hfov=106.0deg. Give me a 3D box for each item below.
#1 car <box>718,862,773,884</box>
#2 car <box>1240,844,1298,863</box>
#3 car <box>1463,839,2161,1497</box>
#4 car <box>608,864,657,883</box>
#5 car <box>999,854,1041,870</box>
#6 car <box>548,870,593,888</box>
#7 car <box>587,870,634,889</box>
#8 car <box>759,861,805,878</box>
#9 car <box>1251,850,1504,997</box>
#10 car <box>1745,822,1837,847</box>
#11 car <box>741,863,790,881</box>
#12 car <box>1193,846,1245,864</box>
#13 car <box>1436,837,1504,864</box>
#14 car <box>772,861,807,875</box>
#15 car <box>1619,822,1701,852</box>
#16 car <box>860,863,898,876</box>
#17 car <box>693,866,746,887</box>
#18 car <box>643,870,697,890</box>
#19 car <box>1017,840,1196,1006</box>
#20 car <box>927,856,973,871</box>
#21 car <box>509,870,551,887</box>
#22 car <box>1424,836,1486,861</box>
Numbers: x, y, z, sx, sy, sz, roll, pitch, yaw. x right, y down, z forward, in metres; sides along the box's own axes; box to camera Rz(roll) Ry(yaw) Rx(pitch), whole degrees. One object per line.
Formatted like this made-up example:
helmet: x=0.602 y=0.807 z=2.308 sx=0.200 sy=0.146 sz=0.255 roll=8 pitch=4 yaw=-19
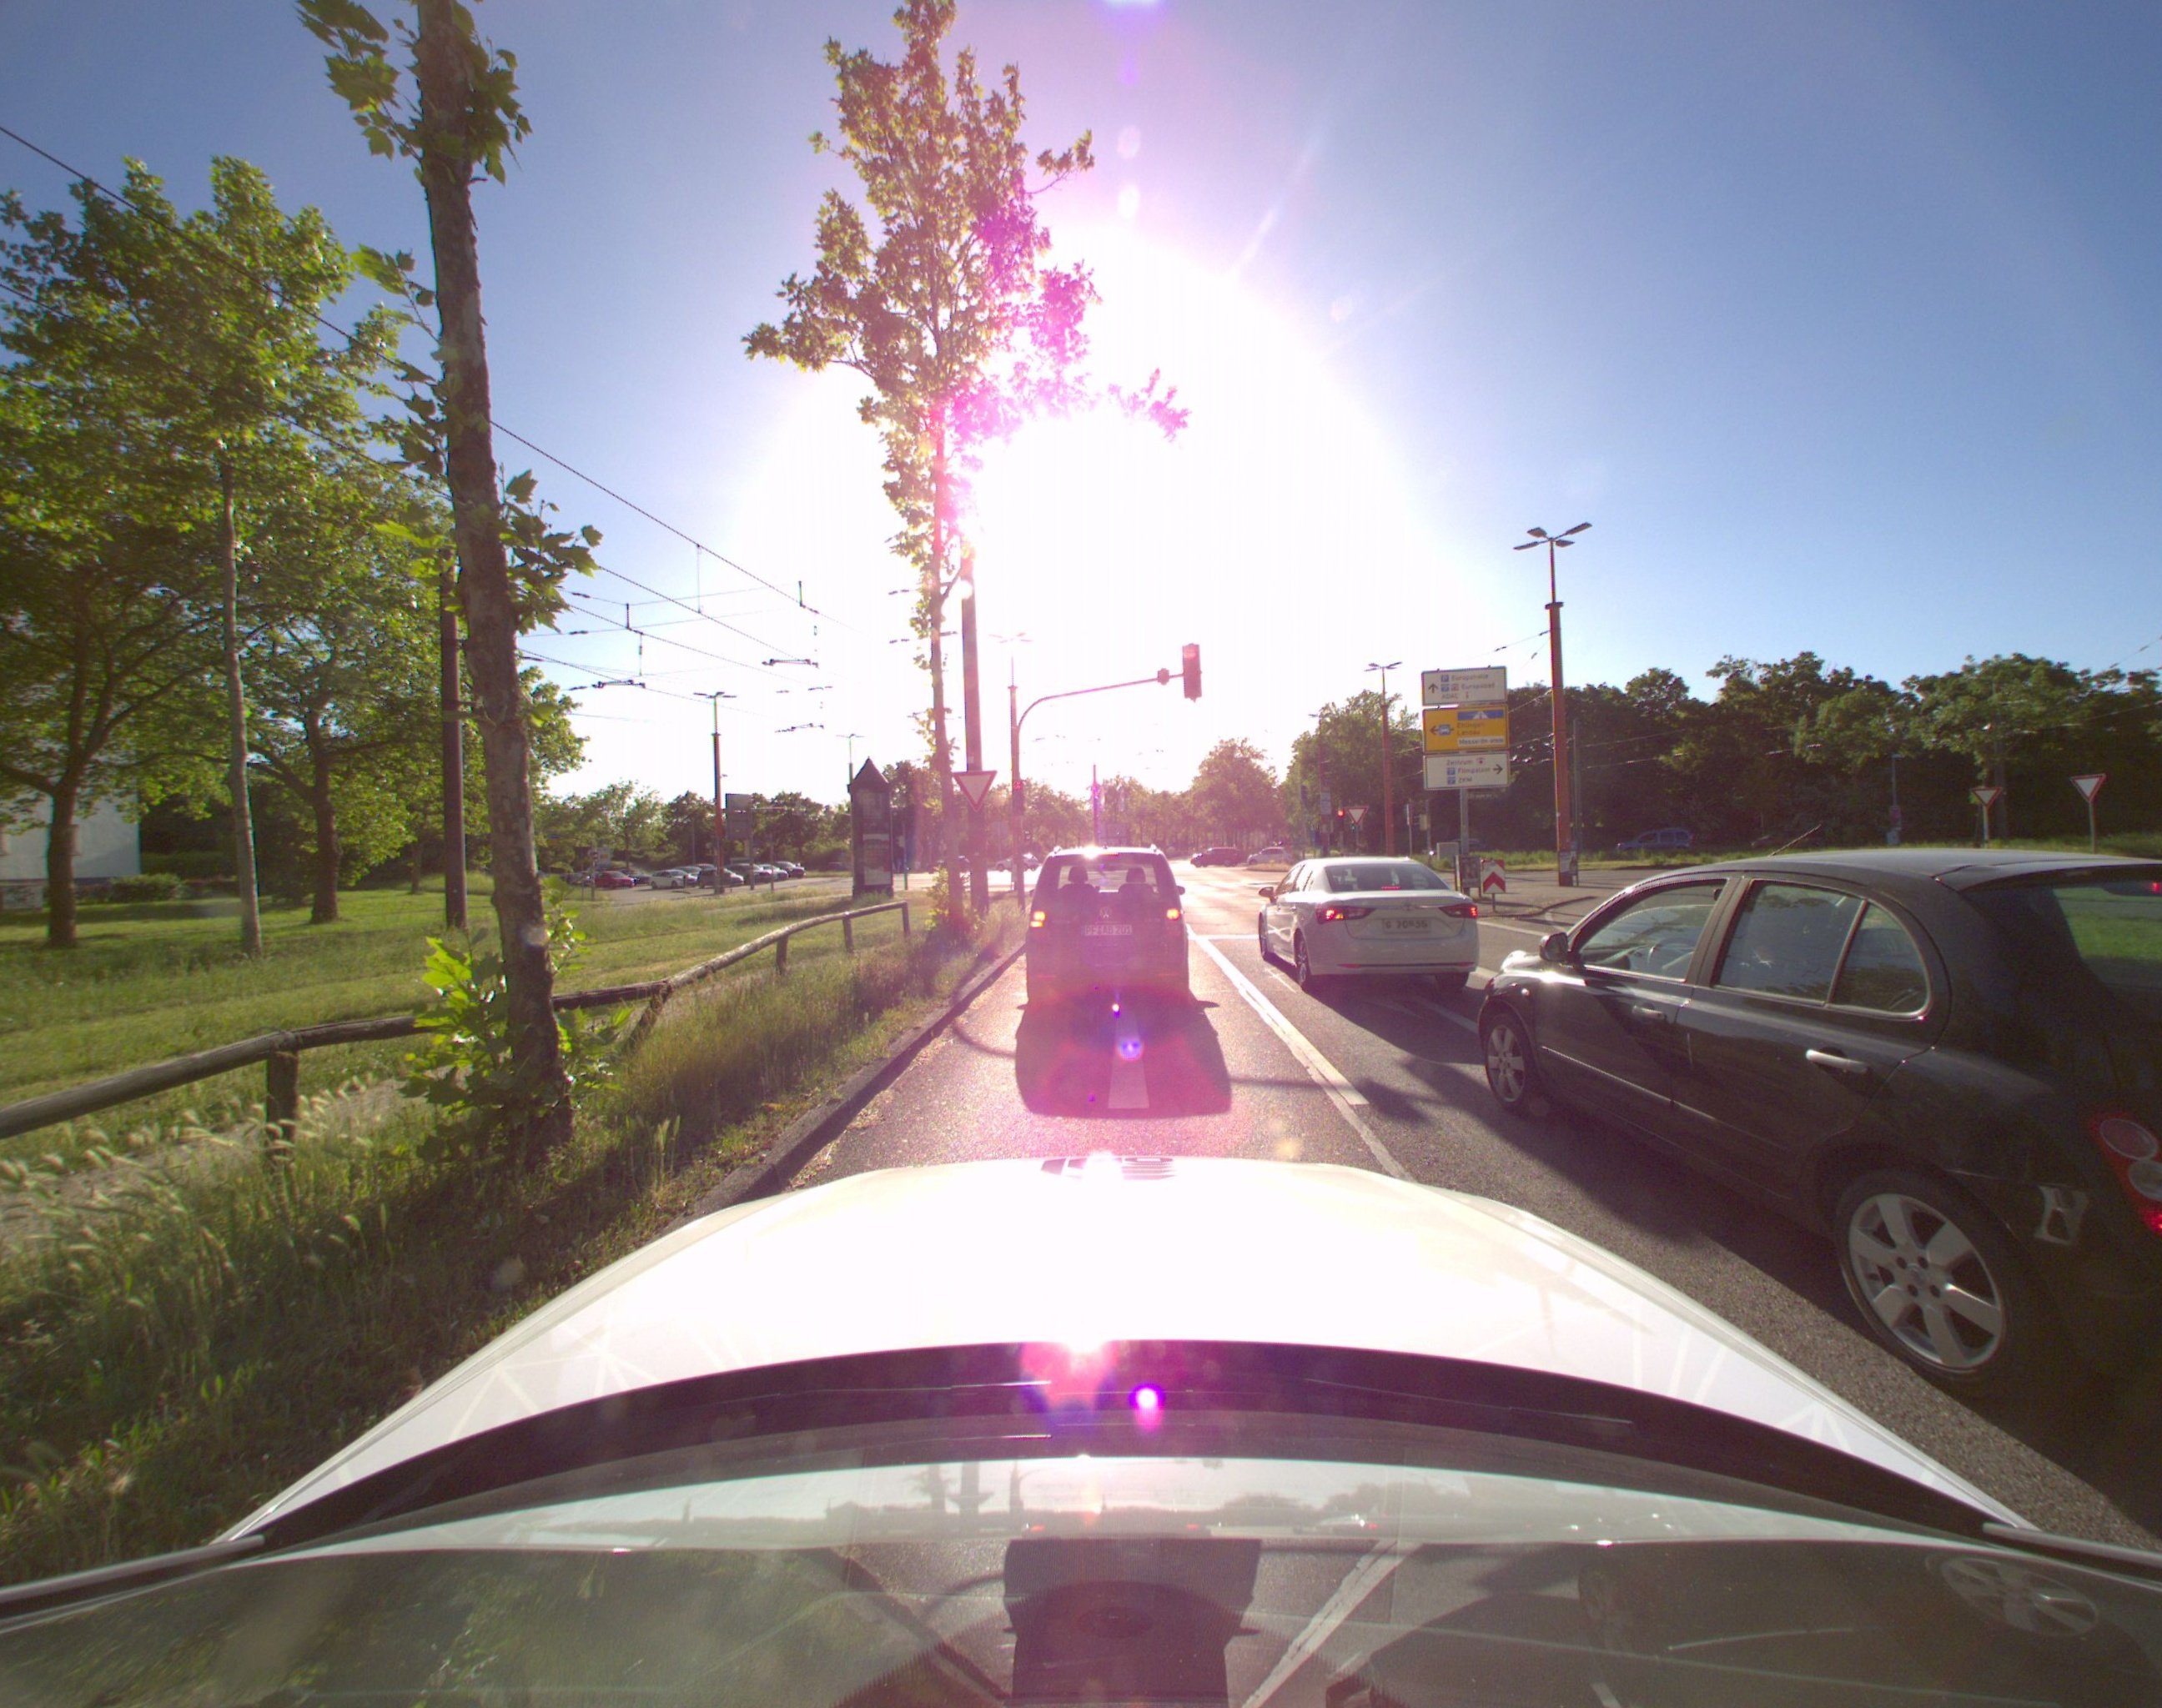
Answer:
car: x=-26.934 y=1.514 z=65.352 sx=4.583 sy=1.647 sz=1.667 roll=-1 pitch=0 yaw=32
car: x=14.764 y=-0.044 z=63.909 sx=4.079 sy=1.403 sz=1.667 roll=-1 pitch=0 yaw=29
car: x=3.173 y=0.695 z=3.492 sx=1.570 sy=1.440 sz=3.443 roll=0 pitch=-1 yaw=2
car: x=-40.463 y=1.723 z=73.433 sx=4.583 sy=1.647 sz=1.767 roll=-1 pitch=0 yaw=32
car: x=-5.954 y=0.788 z=79.139 sx=3.755 sy=1.403 sz=1.667 roll=-1 pitch=0 yaw=29
car: x=-45.087 y=2.216 z=71.902 sx=4.145 sy=1.520 sz=1.667 roll=-1 pitch=0 yaw=32
car: x=-39.450 y=2.146 z=68.252 sx=4.145 sy=1.520 sz=1.667 roll=-1 pitch=0 yaw=32
car: x=-26.738 y=1.380 z=72.813 sx=4.102 sy=1.415 sz=1.553 roll=-1 pitch=0 yaw=28
car: x=3.366 y=0.709 z=10.191 sx=1.792 sy=1.440 sz=4.329 roll=0 pitch=-1 yaw=3
car: x=44.775 y=-1.202 z=51.447 sx=4.080 sy=1.403 sz=1.666 roll=-1 pitch=0 yaw=27
car: x=-26.841 y=1.521 z=69.189 sx=4.102 sy=1.415 sz=1.553 roll=-1 pitch=0 yaw=28
car: x=11.758 y=0.075 z=69.477 sx=4.079 sy=1.471 sz=1.667 roll=-1 pitch=0 yaw=29
car: x=27.174 y=-0.243 z=56.923 sx=4.079 sy=1.791 sz=1.810 roll=-1 pitch=0 yaw=31
car: x=-32.045 y=1.549 z=89.497 sx=3.755 sy=1.403 sz=1.667 roll=-1 pitch=0 yaw=32
car: x=36.766 y=-1.068 z=51.813 sx=4.079 sy=1.791 sz=1.810 roll=-1 pitch=0 yaw=31
car: x=-21.801 y=1.677 z=87.754 sx=3.756 sy=1.403 sz=1.667 roll=-1 pitch=0 yaw=28
car: x=-27.338 y=1.693 z=61.570 sx=3.793 sy=1.441 sz=1.667 roll=-1 pitch=0 yaw=29
car: x=-32.672 y=2.071 z=64.734 sx=4.577 sy=1.520 sz=1.667 roll=-1 pitch=0 yaw=32
car: x=0.359 y=0.689 z=10.086 sx=1.731 sy=1.602 sz=4.329 roll=0 pitch=-1 yaw=3
car: x=-12.676 y=0.893 z=78.630 sx=4.081 sy=1.403 sz=1.666 roll=-1 pitch=0 yaw=25
car: x=-51.134 y=2.255 z=75.523 sx=4.145 sy=1.520 sz=1.667 roll=-1 pitch=0 yaw=32
car: x=28.058 y=-0.406 z=61.046 sx=4.080 sy=1.791 sz=1.810 roll=-1 pitch=0 yaw=28
